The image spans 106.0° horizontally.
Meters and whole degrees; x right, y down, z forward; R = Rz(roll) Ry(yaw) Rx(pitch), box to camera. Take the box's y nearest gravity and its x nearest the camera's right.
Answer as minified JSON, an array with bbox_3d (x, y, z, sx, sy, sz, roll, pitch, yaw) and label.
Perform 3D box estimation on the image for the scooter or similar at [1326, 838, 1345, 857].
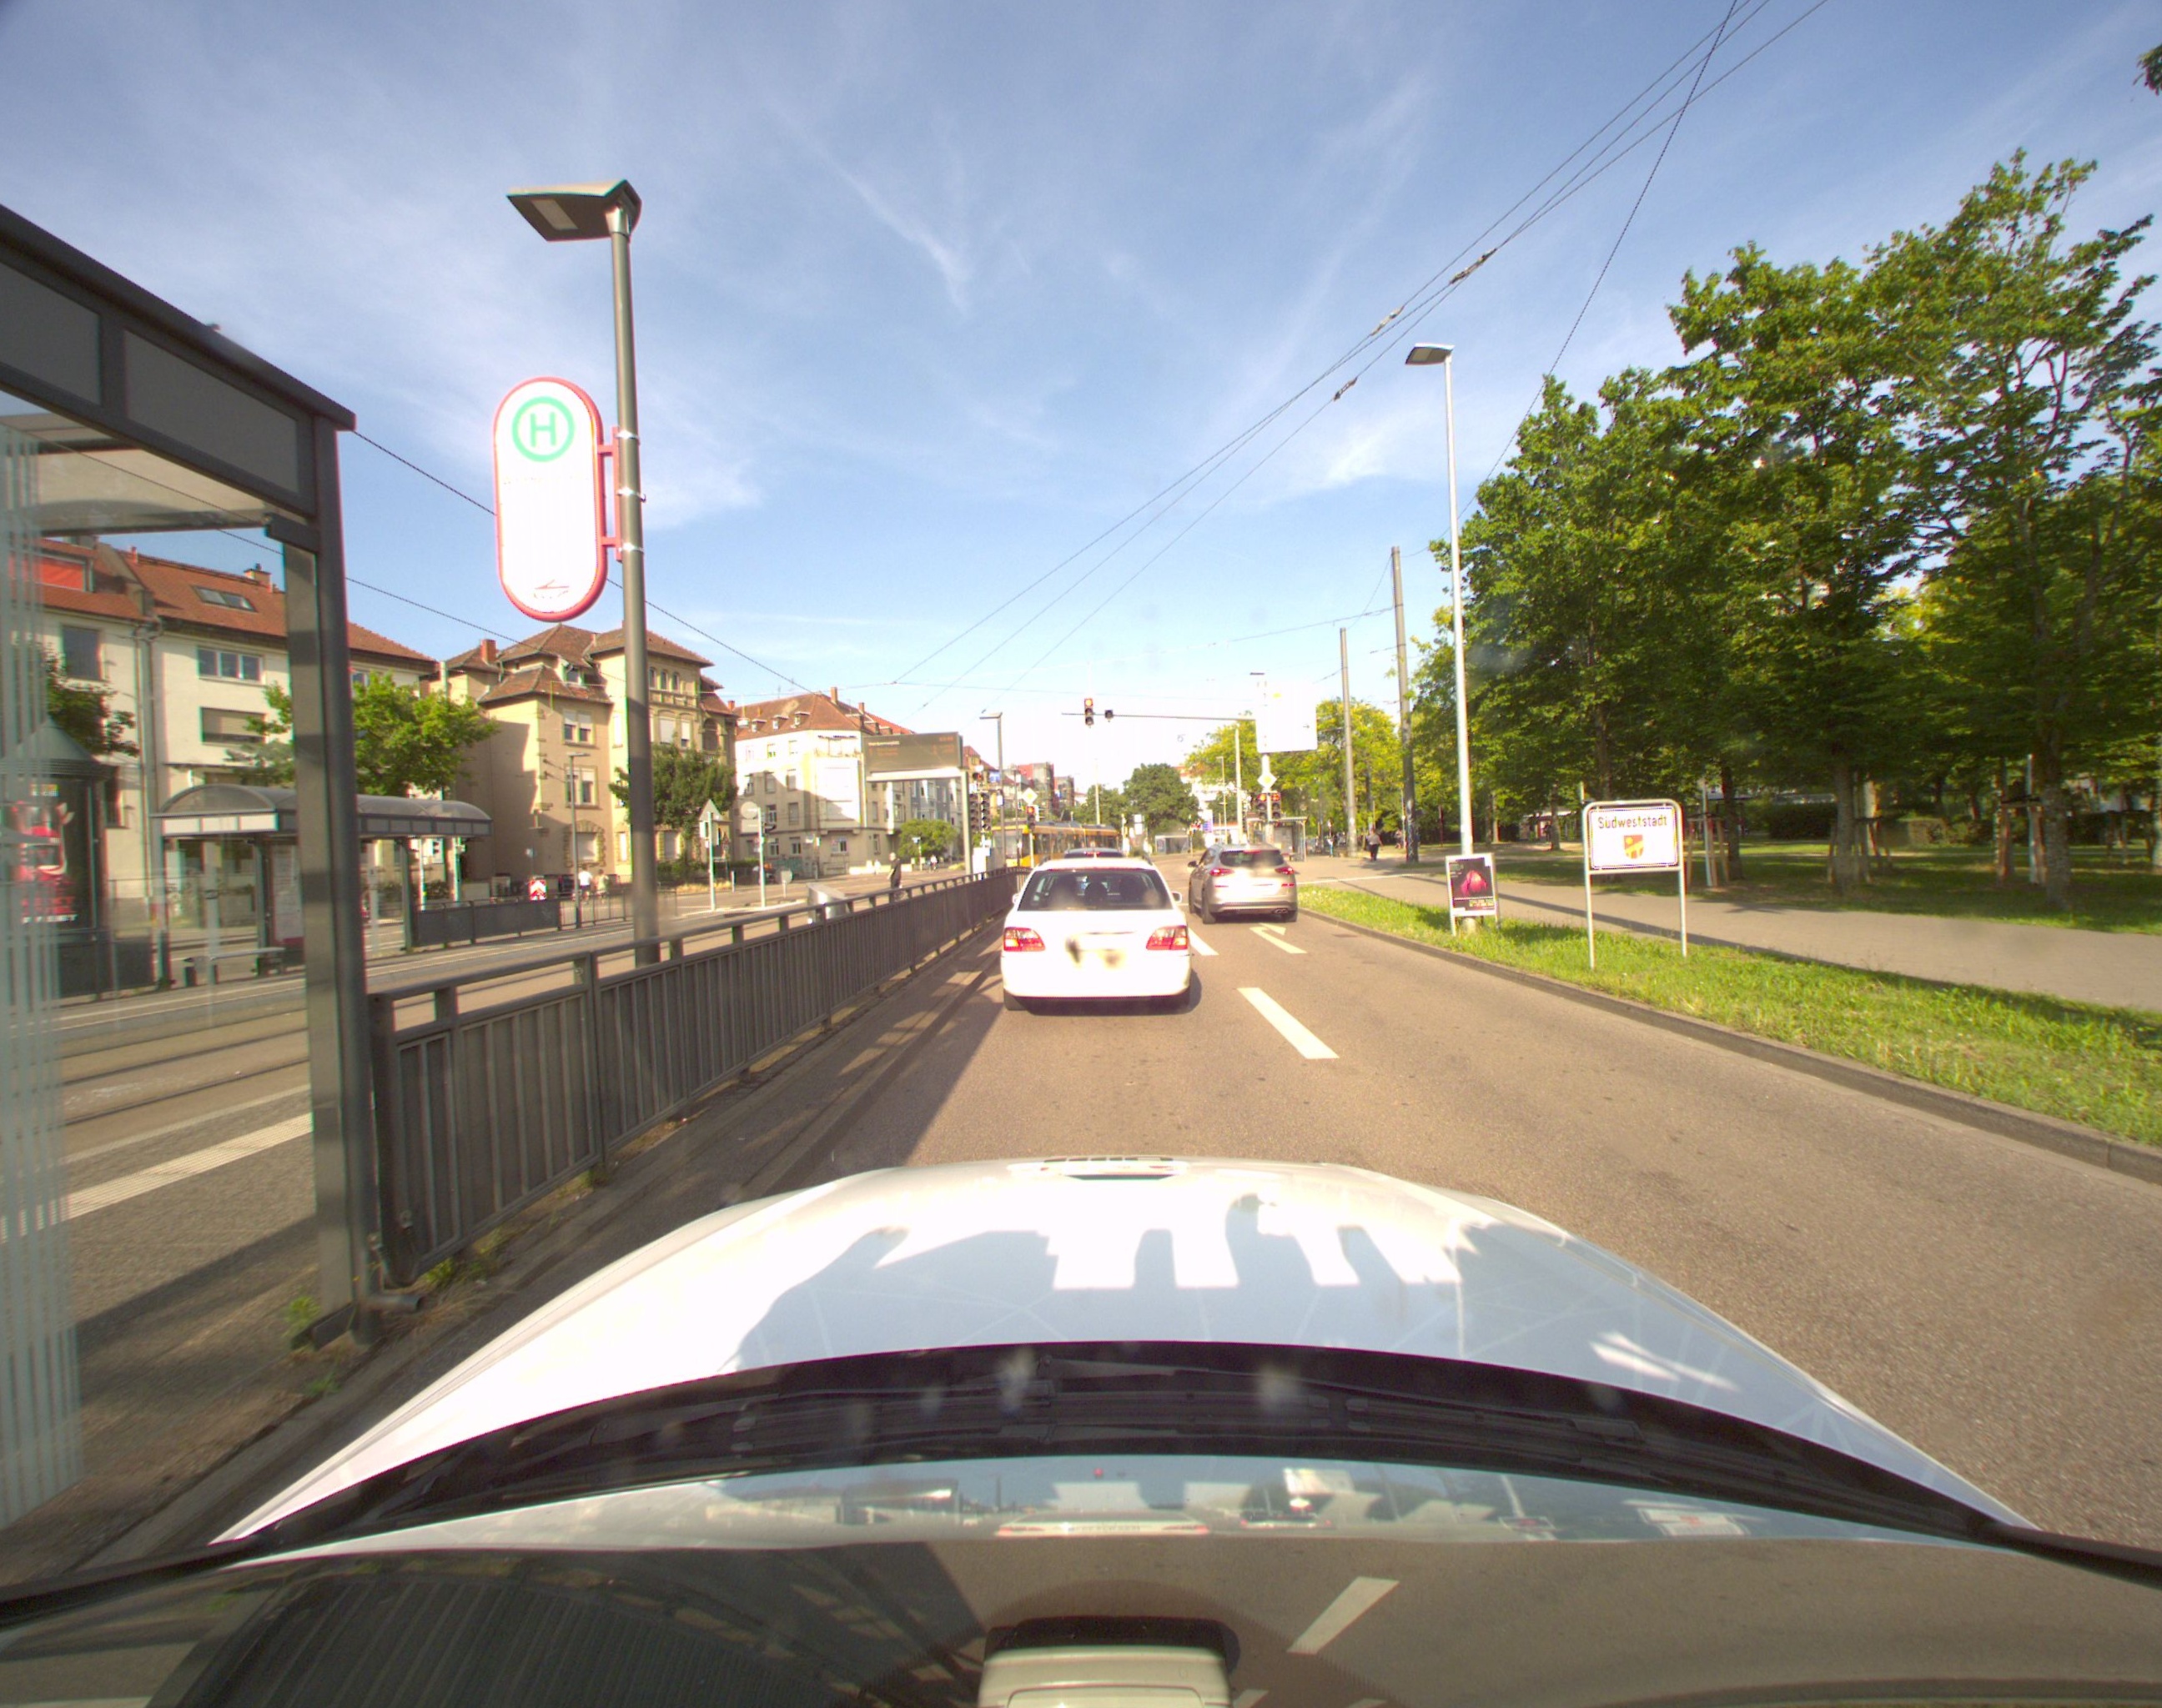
[{"bbox_3d":[15.884,-0.396,50.898,0.421,1.117,1.322,-3,0,-18],"label":"scooter or similar"}]

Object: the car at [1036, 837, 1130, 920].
[{"bbox_3d":[0.085,0.485,18.184,1.878,1.651,3.649,0,0,1],"label":"car"}]

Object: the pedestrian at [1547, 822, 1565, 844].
[{"bbox_3d":[35.348,-1.545,60.603,0.831,1.636,0.804,-3,0,7],"label":"pedestrian"}]

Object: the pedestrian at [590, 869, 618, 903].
[{"bbox_3d":[-22.924,1.542,39.158,0.822,1.552,0.786,-3,0,23],"label":"pedestrian"}]

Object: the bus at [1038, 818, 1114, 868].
[{"bbox_3d":[-0.158,-0.770,64.862,3.087,3.606,12.636,-1,0,13],"label":"bus"}]

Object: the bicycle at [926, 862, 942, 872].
[{"bbox_3d":[-13.589,1.226,75.220,0.521,0.834,1.696,-3,0,27],"label":"bicycle"}]

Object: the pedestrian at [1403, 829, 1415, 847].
[{"bbox_3d":[27.390,-1.326,67.994,0.805,1.487,0.705,-3,0,26],"label":"pedestrian"}]

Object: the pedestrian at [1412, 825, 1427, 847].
[{"bbox_3d":[28.731,-1.498,69.131,0.798,1.785,0.838,-3,0,-3],"label":"pedestrian"}]

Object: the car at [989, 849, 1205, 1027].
[{"bbox_3d":[0.180,0.700,8.679,1.789,1.470,3.649,-1,0,1],"label":"car"}]

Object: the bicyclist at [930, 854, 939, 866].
[{"bbox_3d":[-13.564,0.551,75.323,0.508,1.044,0.684,-3,0,29],"label":"bicyclist"}]

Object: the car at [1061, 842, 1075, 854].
[{"bbox_3d":[-2.134,-1.011,135.976,2.067,2.014,4.165,0,0,2],"label":"car"}]

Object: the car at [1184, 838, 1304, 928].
[{"bbox_3d":[3.385,0.549,17.569,1.878,1.651,3.649,-3,0,1],"label":"car"}]

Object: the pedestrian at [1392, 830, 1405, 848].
[{"bbox_3d":[26.869,-1.266,68.906,0.820,1.487,0.692,-3,0,-40],"label":"pedestrian"}]

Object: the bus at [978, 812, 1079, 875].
[{"bbox_3d":[-3.021,-0.556,52.638,3.087,3.606,12.418,-1,0,13],"label":"bus"}]

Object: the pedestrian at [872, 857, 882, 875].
[{"bbox_3d":[-18.071,1.091,72.120,0.627,1.541,0.711,-3,0,1],"label":"pedestrian"}]

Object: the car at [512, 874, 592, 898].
[{"bbox_3d":[-29.657,1.772,45.685,4.067,1.310,1.774,-1,0,23],"label":"car"}]

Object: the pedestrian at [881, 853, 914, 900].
[{"bbox_3d":[-6.580,0.799,29.200,0.798,1.645,0.748,-3,0,-43],"label":"pedestrian"}]

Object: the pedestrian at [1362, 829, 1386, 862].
[{"bbox_3d":[14.858,-0.450,41.354,0.758,1.636,0.799,-3,0,-38],"label":"pedestrian"}]

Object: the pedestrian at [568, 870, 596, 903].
[{"bbox_3d":[-23.977,1.561,39.133,0.822,1.552,0.786,-3,0,23],"label":"pedestrian"}]

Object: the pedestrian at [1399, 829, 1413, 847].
[{"bbox_3d":[27.712,-1.347,69.502,0.813,1.487,0.698,-3,0,-10],"label":"pedestrian"}]

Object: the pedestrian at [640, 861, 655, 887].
[{"bbox_3d":[-25.222,1.170,47.361,0.434,1.500,0.551,-3,0,16],"label":"pedestrian"}]
